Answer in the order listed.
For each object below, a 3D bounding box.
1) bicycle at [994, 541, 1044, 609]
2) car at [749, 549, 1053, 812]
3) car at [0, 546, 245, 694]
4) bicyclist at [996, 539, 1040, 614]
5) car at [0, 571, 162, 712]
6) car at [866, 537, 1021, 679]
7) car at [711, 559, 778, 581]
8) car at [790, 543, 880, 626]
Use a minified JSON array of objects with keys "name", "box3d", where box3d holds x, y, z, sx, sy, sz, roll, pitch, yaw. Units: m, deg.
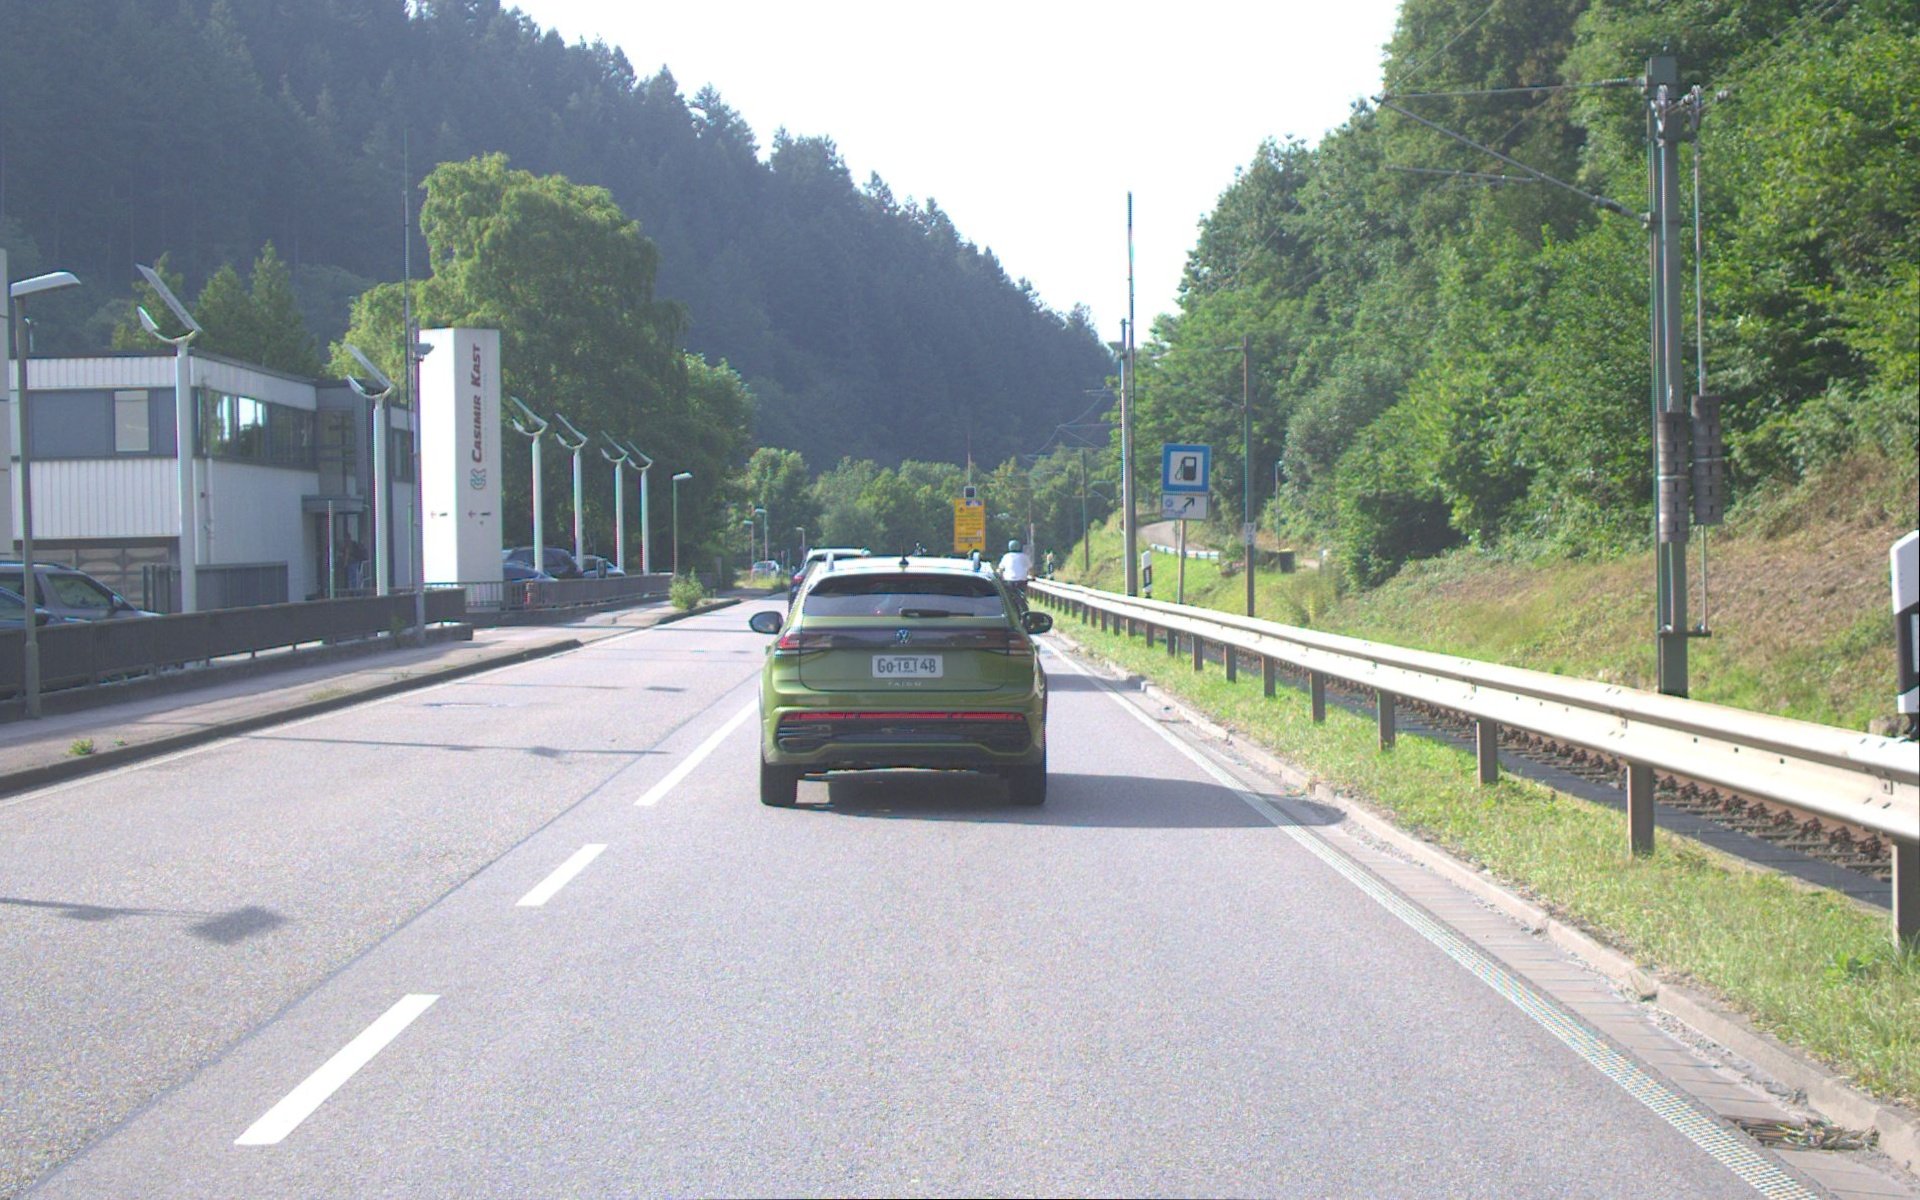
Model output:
[{"name":"bicycle","box3d":[1.098,-0.472,64.390,0.811,1.246,2.123,0,1,-2]},{"name":"car","box3d":[-0.389,0.431,21.694,1.739,1.503,4.000,0,1,-1]},{"name":"car","box3d":[-10.849,0.210,41.484,1.780,1.702,4.101,0,1,41]},{"name":"bicyclist","box3d":[1.081,-0.446,64.672,0.781,1.407,0.675,0,1,-2]},{"name":"car","box3d":[-11.084,0.451,37.244,1.887,1.490,4.478,0,1,41]},{"name":"car","box3d":[-0.242,0.064,40.781,1.739,1.596,4.000,0,1,-1]},{"name":"car","box3d":[-14.018,-1.970,223.898,4.259,1.428,1.557,0,1,0]},{"name":"car","box3d":[-2.465,-0.328,68.489,1.739,1.596,4.000,0,1,-1]}]
